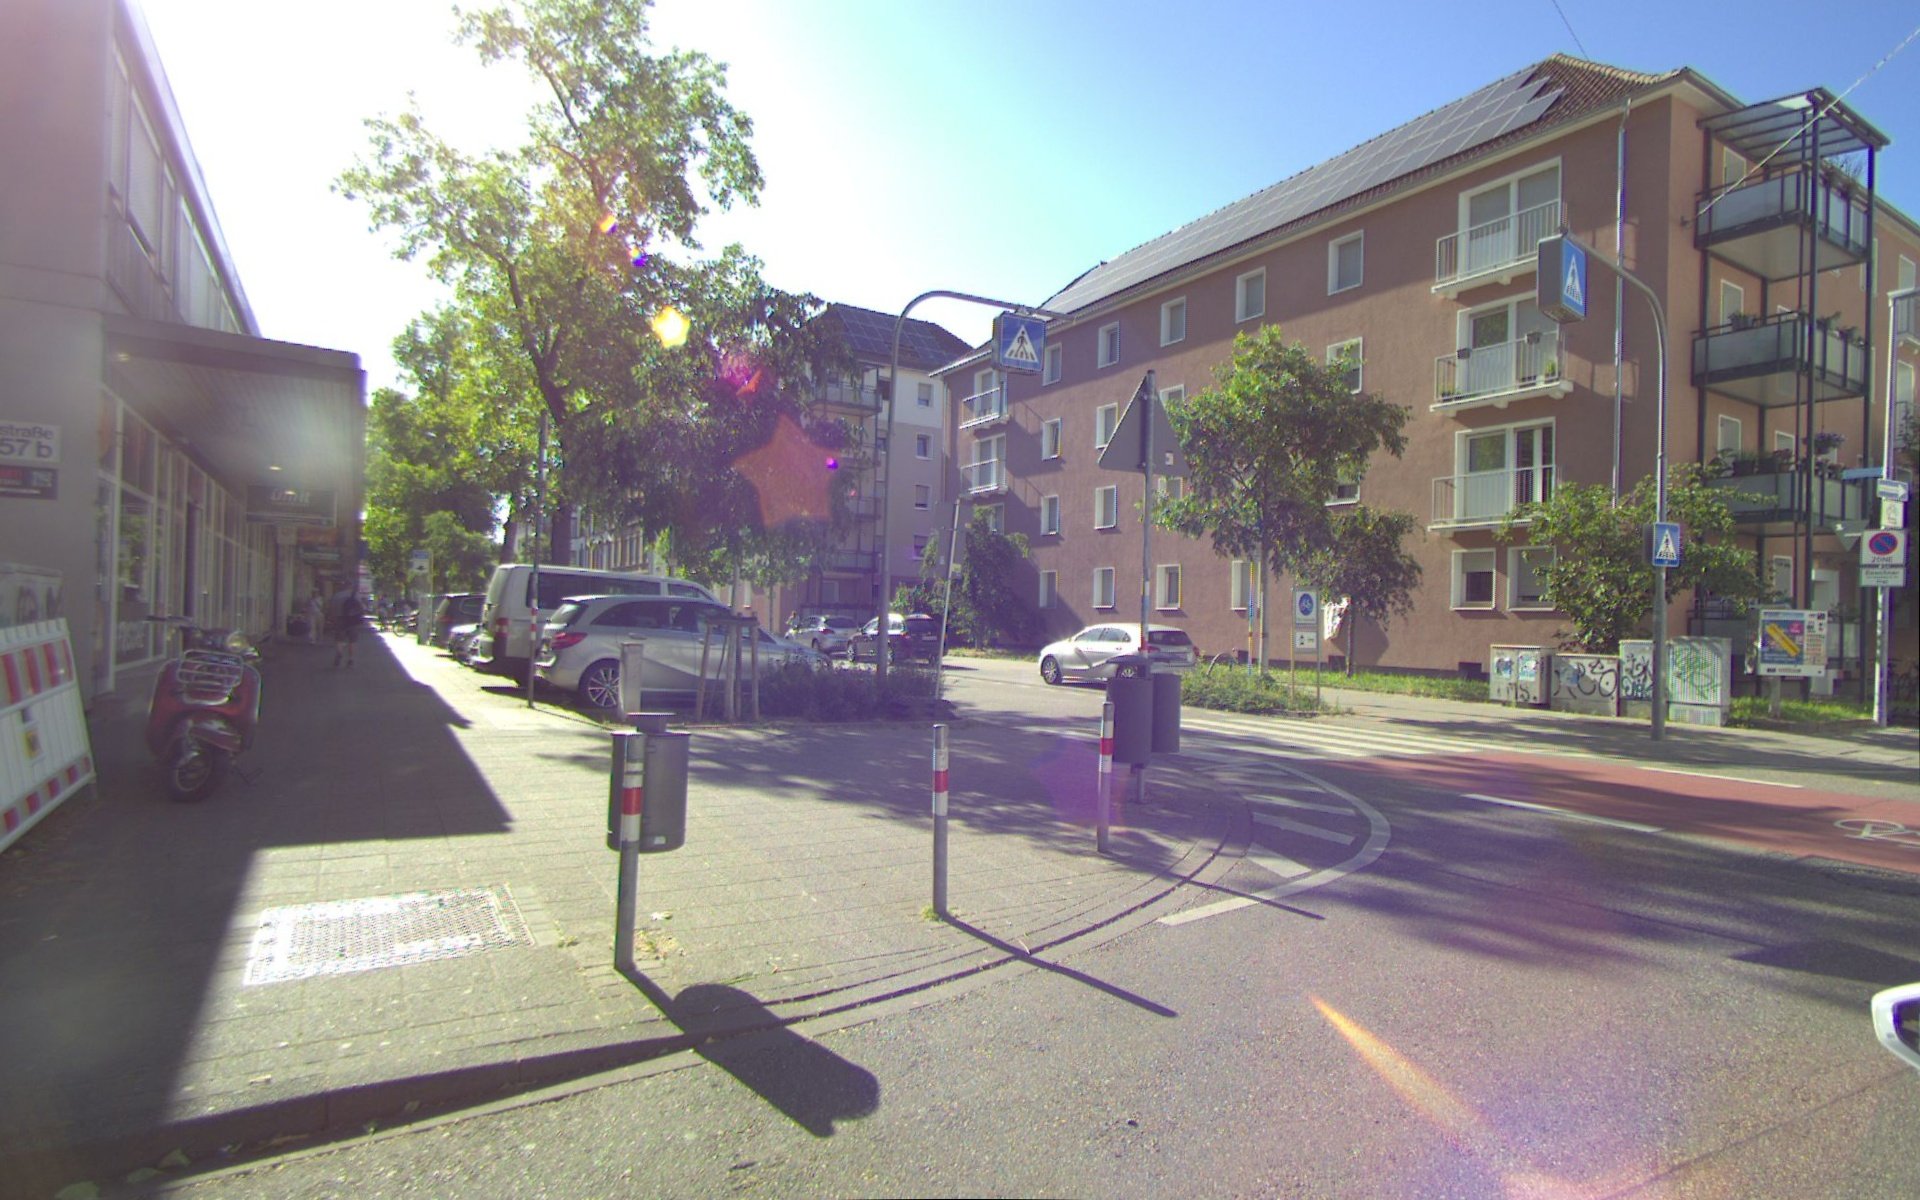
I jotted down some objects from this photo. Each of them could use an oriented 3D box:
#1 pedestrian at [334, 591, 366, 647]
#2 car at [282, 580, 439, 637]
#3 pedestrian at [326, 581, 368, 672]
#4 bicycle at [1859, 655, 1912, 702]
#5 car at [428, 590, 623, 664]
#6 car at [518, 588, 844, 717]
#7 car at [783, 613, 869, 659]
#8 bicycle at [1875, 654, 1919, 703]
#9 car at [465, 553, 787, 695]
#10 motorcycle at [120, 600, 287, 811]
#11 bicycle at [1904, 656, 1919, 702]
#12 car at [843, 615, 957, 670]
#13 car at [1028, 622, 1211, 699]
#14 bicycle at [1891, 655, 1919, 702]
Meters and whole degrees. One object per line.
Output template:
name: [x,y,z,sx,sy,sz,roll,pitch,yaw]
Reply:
pedestrian: [-17.392,0.535,28.671,0.681,1.541,0.528,4,-2,-30]
car: [-23.583,0.381,39.684,5.173,2.007,1.647,3,-2,-33]
pedestrian: [-11.705,0.506,19.190,0.560,1.688,0.707,3,-2,-29]
bicycle: [22.149,1.870,24.054,0.285,1.049,1.217,1,-1,8]
car: [-11.765,0.759,27.309,4.591,1.828,1.821,3,-2,-33]
car: [-4.017,0.744,14.688,4.257,1.634,1.743,2,-1,-33]
car: [-4.891,1.285,36.299,1.725,1.539,3.827,2,-1,-30]
bicycle: [22.460,1.866,23.988,0.261,1.086,1.217,1,-1,8]
car: [-5.493,0.472,16.770,4.696,2.032,1.942,4,-2,-34]
motorcycle: [-5.103,0.630,6.884,0.662,1.196,1.906,2,0,-30]
bicycle: [23.088,1.890,23.893,0.248,1.086,1.217,1,-1,8]
car: [-1.915,1.253,30.896,1.768,1.539,4.274,2,-1,-30]
car: [3.383,1.256,22.085,1.726,1.473,4.120,2,-1,-31]
bicycle: [22.798,1.875,23.939,0.248,1.085,1.217,1,-1,8]
